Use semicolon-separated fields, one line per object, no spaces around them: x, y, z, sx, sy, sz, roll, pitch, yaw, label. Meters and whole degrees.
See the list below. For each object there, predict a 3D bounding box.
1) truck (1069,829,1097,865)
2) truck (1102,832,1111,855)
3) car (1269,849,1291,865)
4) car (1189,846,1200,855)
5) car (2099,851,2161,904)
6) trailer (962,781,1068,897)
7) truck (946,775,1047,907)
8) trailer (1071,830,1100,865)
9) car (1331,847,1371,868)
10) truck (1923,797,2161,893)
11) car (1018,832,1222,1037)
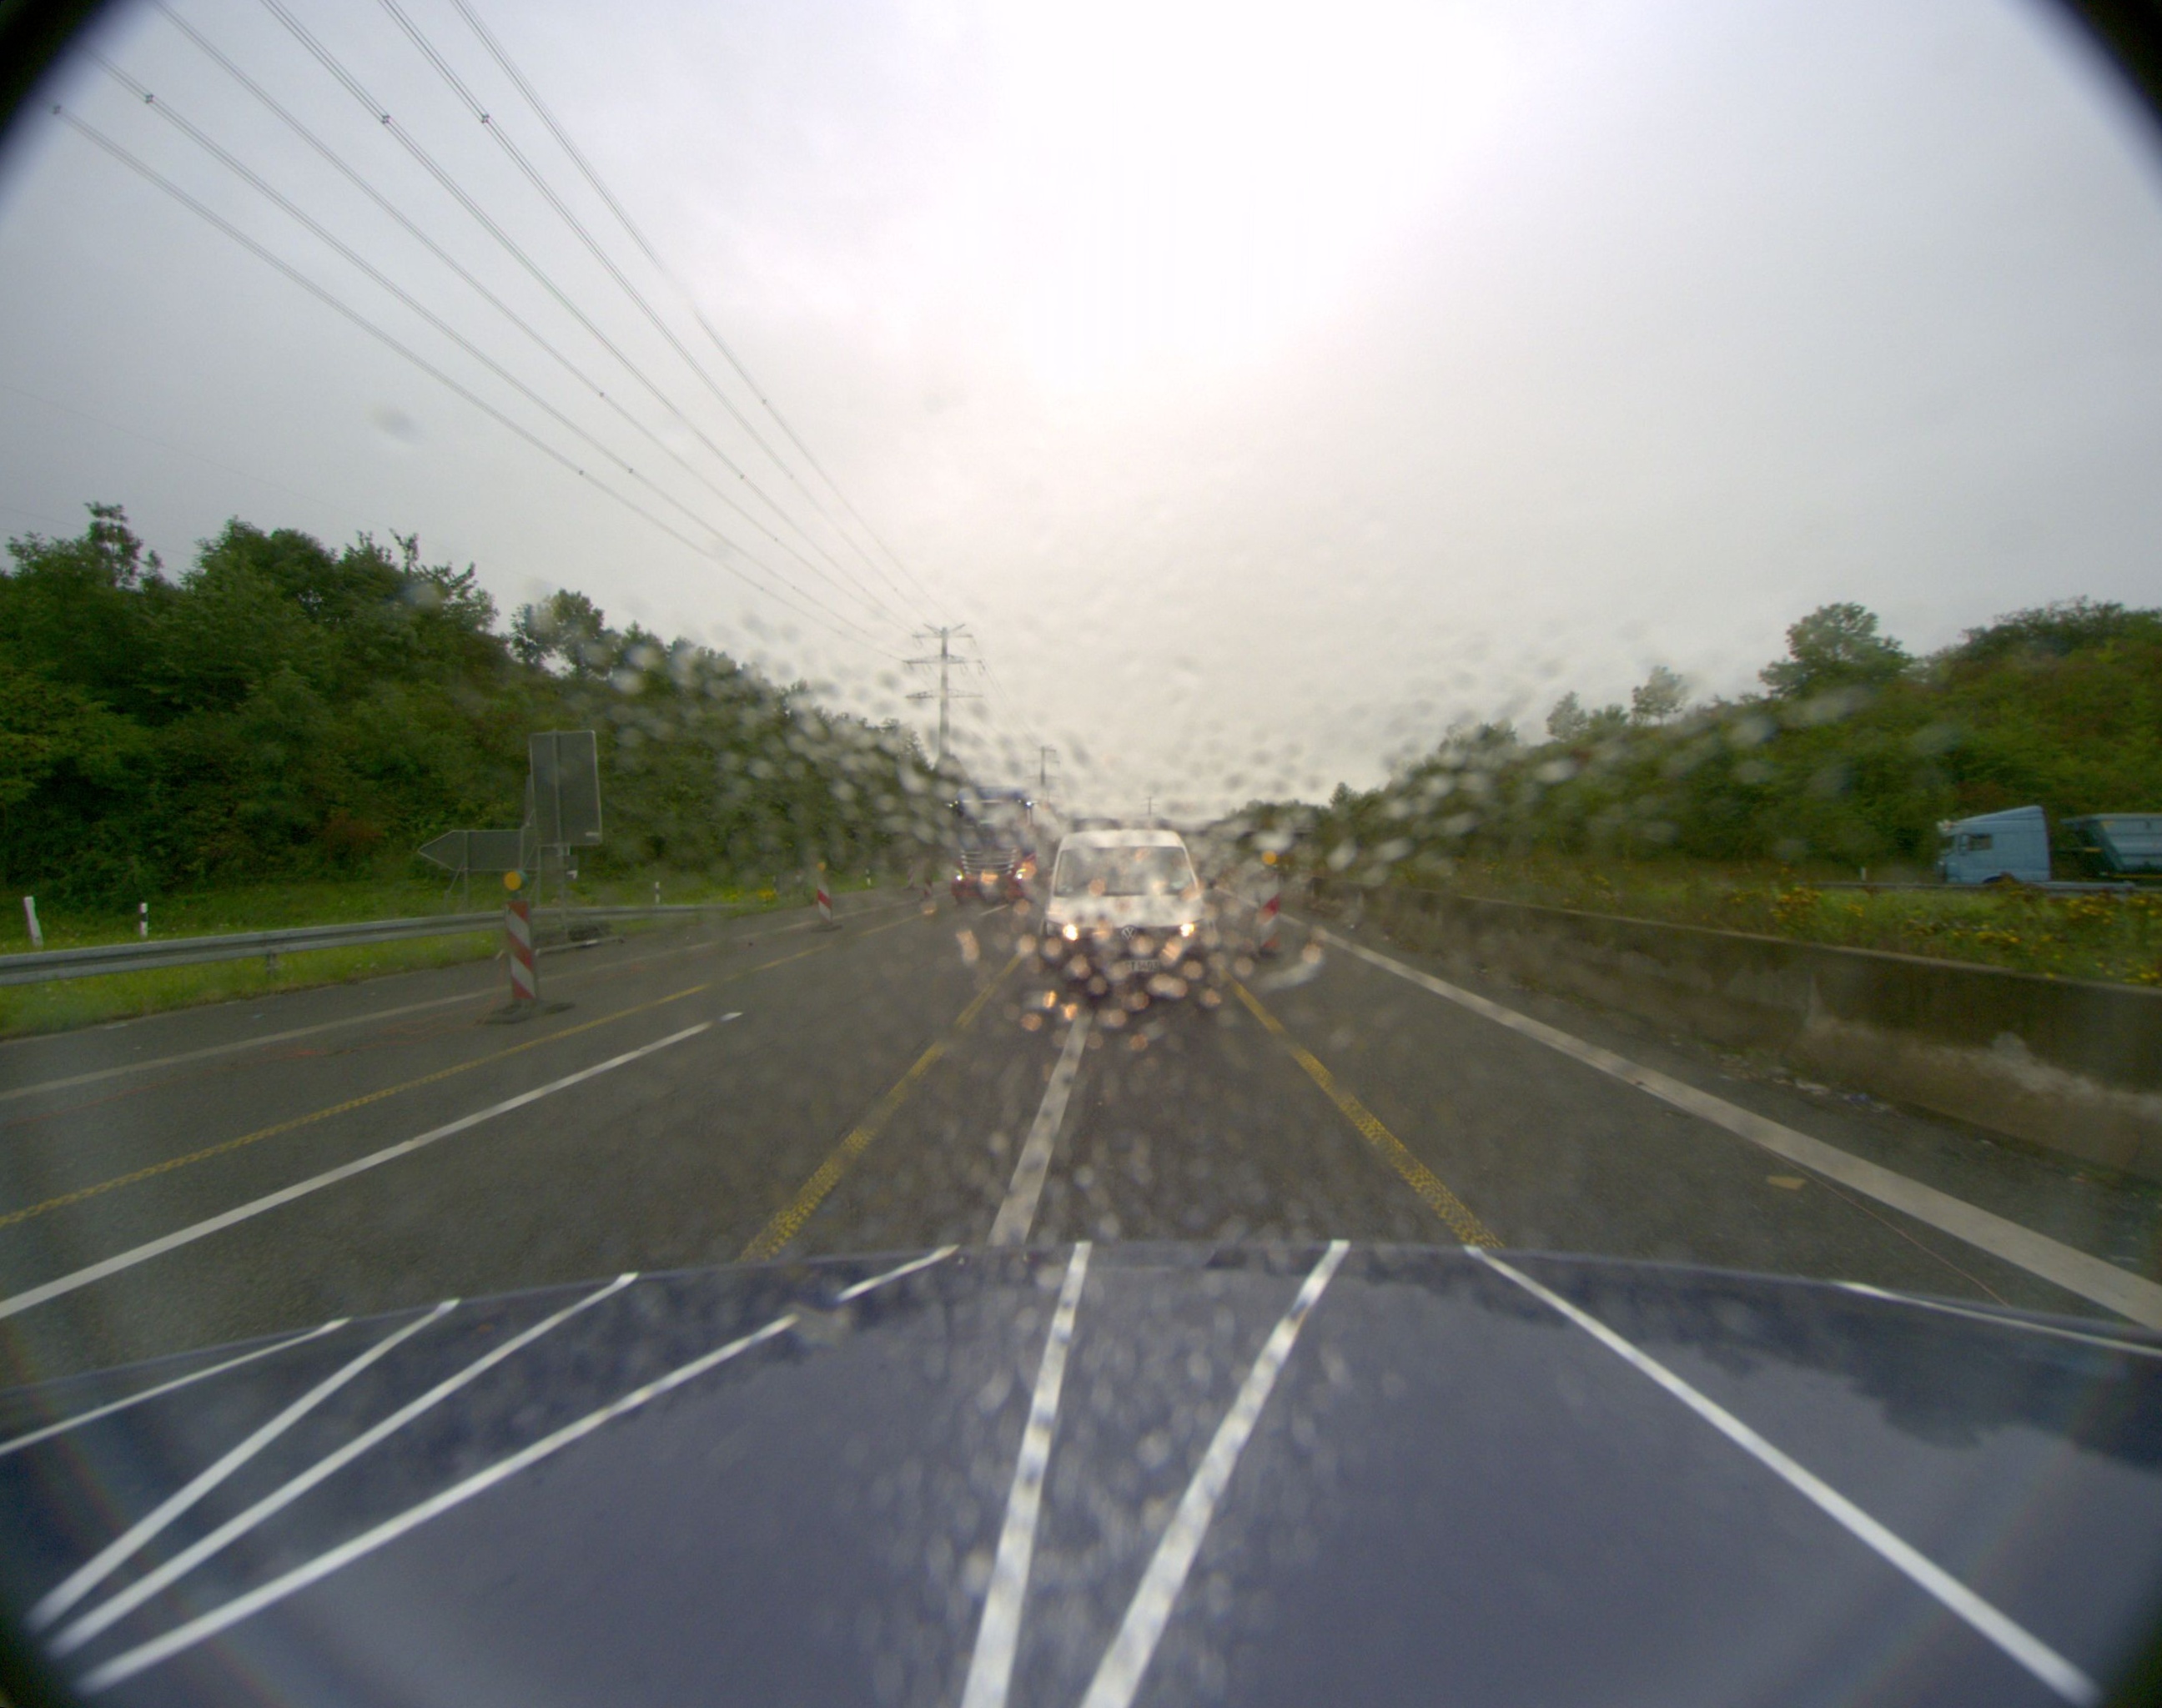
0.297;-0.802;86.409;2.747;3.912;5.397;-2;1;3;truck
7.147;-3.016;210.784;2.276;3.696;6.629;-2;26;3;truck
19.979;0.301;76.488;1.455;1.523;3.661;-2;1;4;car
29.642;-0.865;198.602;2.244;2.426;5.885;0;0;5;car
42.366;0.916;28.947;3.988;2.002;2.004;1;1;44;car
-2.313;-0.617;31.682;2.525;3.812;12.351;-2;1;3;trailer
-2.657;-0.421;25.043;2.553;3.924;4.000;-2;1;2;truck
0.678;-0.865;94.369;2.808;3.980;14.149;-2;1;3;trailer
22.850;0.281;64.538;1.998;1.779;4.229;0;0;1;car
42.841;-0.346;28.646;14.537;3.599;2.907;0;1;37;truck
0.409;0.712;9.132;1.770;1.774;4.647;-2;0;1;car
